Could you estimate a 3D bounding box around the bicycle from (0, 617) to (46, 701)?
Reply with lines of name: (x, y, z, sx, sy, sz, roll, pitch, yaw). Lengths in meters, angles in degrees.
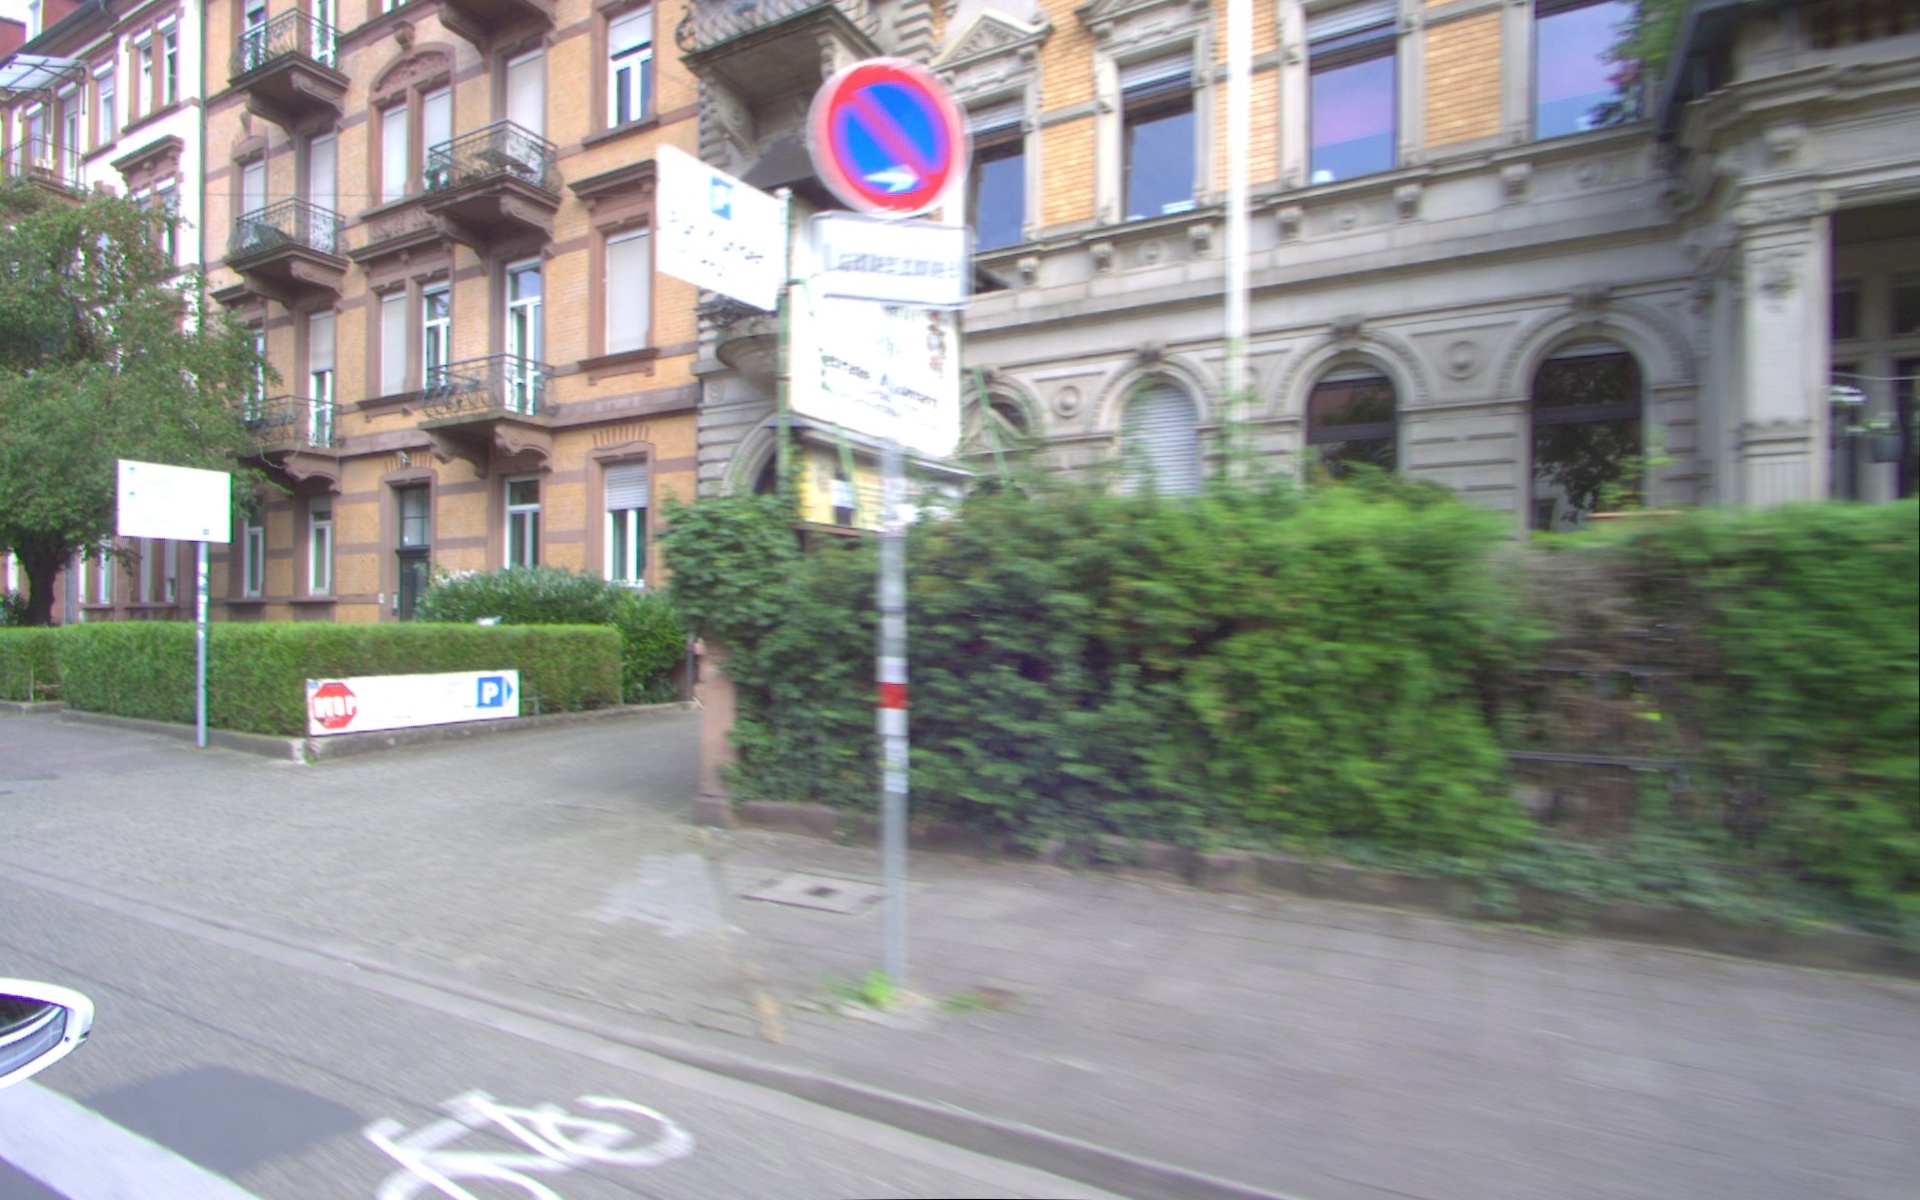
bicycle: (-15.272, 0.918, 16.051, 1.527, 1.298, 0.515, 0, -1, 32)

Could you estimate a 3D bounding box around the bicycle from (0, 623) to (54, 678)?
bicycle: (-17.948, 0.935, 18.635, 0.502, 1.022, 1.544, 0, -1, 27)
